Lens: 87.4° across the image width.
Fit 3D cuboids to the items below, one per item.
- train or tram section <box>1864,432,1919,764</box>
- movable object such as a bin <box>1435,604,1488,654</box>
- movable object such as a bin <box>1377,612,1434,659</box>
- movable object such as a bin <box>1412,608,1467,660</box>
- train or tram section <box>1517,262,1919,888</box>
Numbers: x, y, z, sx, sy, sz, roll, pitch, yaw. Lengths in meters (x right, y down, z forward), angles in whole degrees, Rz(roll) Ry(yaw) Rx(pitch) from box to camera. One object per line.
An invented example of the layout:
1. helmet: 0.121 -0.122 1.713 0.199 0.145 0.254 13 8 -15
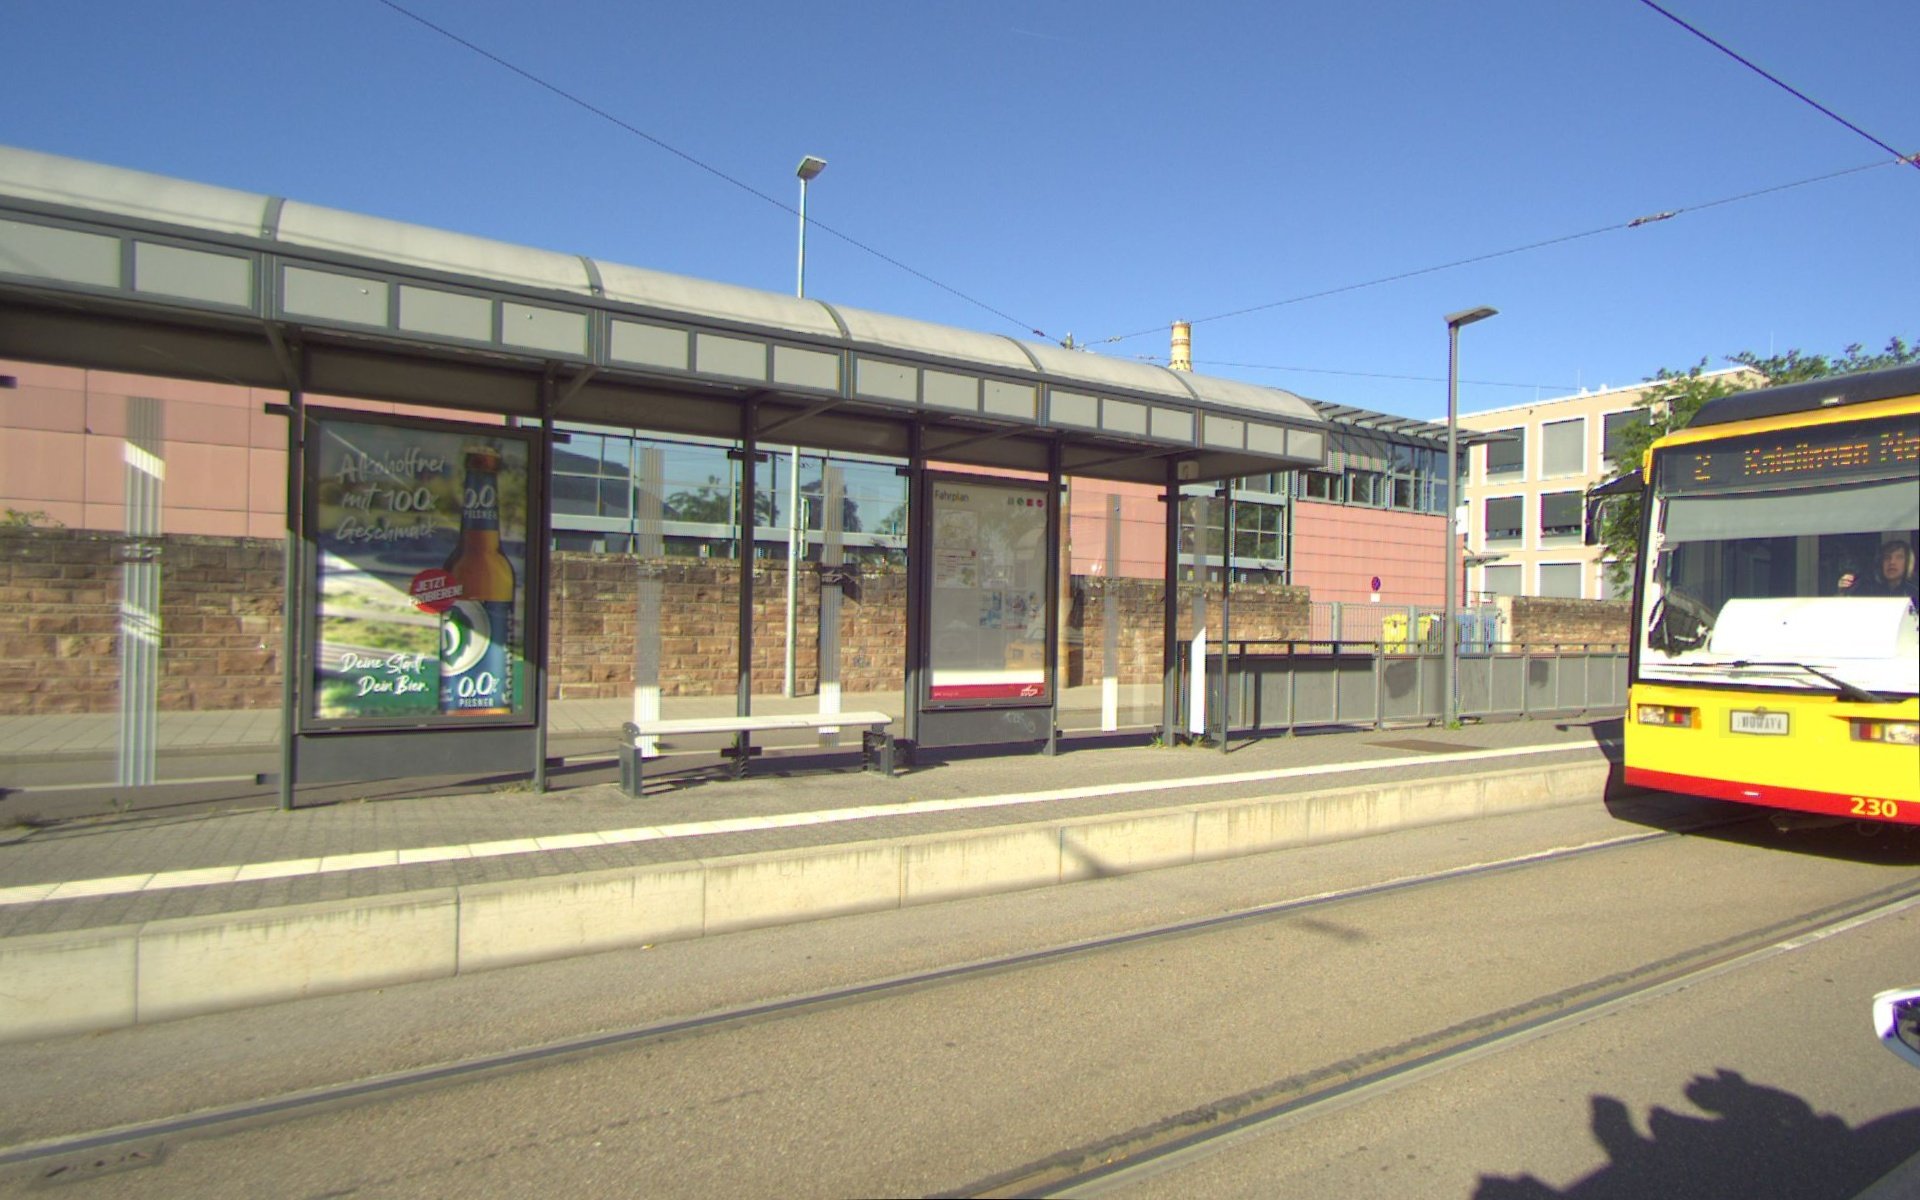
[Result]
1. train or tram section: 13.445 0.044 11.477 6.591 3.506 2.790 1 0 -31
2. movable object such as a bin: 15.046 0.870 30.147 1.295 1.466 0.876 1 -1 -32
3. movable object such as a bin: 12.464 0.985 28.097 1.295 1.302 0.876 1 -1 -32
4. movable object such as a bin: 13.946 0.987 29.209 1.295 1.466 0.876 1 -1 -32
5. train or tram section: 7.766 -0.083 8.076 6.591 3.506 2.790 1 0 -31
